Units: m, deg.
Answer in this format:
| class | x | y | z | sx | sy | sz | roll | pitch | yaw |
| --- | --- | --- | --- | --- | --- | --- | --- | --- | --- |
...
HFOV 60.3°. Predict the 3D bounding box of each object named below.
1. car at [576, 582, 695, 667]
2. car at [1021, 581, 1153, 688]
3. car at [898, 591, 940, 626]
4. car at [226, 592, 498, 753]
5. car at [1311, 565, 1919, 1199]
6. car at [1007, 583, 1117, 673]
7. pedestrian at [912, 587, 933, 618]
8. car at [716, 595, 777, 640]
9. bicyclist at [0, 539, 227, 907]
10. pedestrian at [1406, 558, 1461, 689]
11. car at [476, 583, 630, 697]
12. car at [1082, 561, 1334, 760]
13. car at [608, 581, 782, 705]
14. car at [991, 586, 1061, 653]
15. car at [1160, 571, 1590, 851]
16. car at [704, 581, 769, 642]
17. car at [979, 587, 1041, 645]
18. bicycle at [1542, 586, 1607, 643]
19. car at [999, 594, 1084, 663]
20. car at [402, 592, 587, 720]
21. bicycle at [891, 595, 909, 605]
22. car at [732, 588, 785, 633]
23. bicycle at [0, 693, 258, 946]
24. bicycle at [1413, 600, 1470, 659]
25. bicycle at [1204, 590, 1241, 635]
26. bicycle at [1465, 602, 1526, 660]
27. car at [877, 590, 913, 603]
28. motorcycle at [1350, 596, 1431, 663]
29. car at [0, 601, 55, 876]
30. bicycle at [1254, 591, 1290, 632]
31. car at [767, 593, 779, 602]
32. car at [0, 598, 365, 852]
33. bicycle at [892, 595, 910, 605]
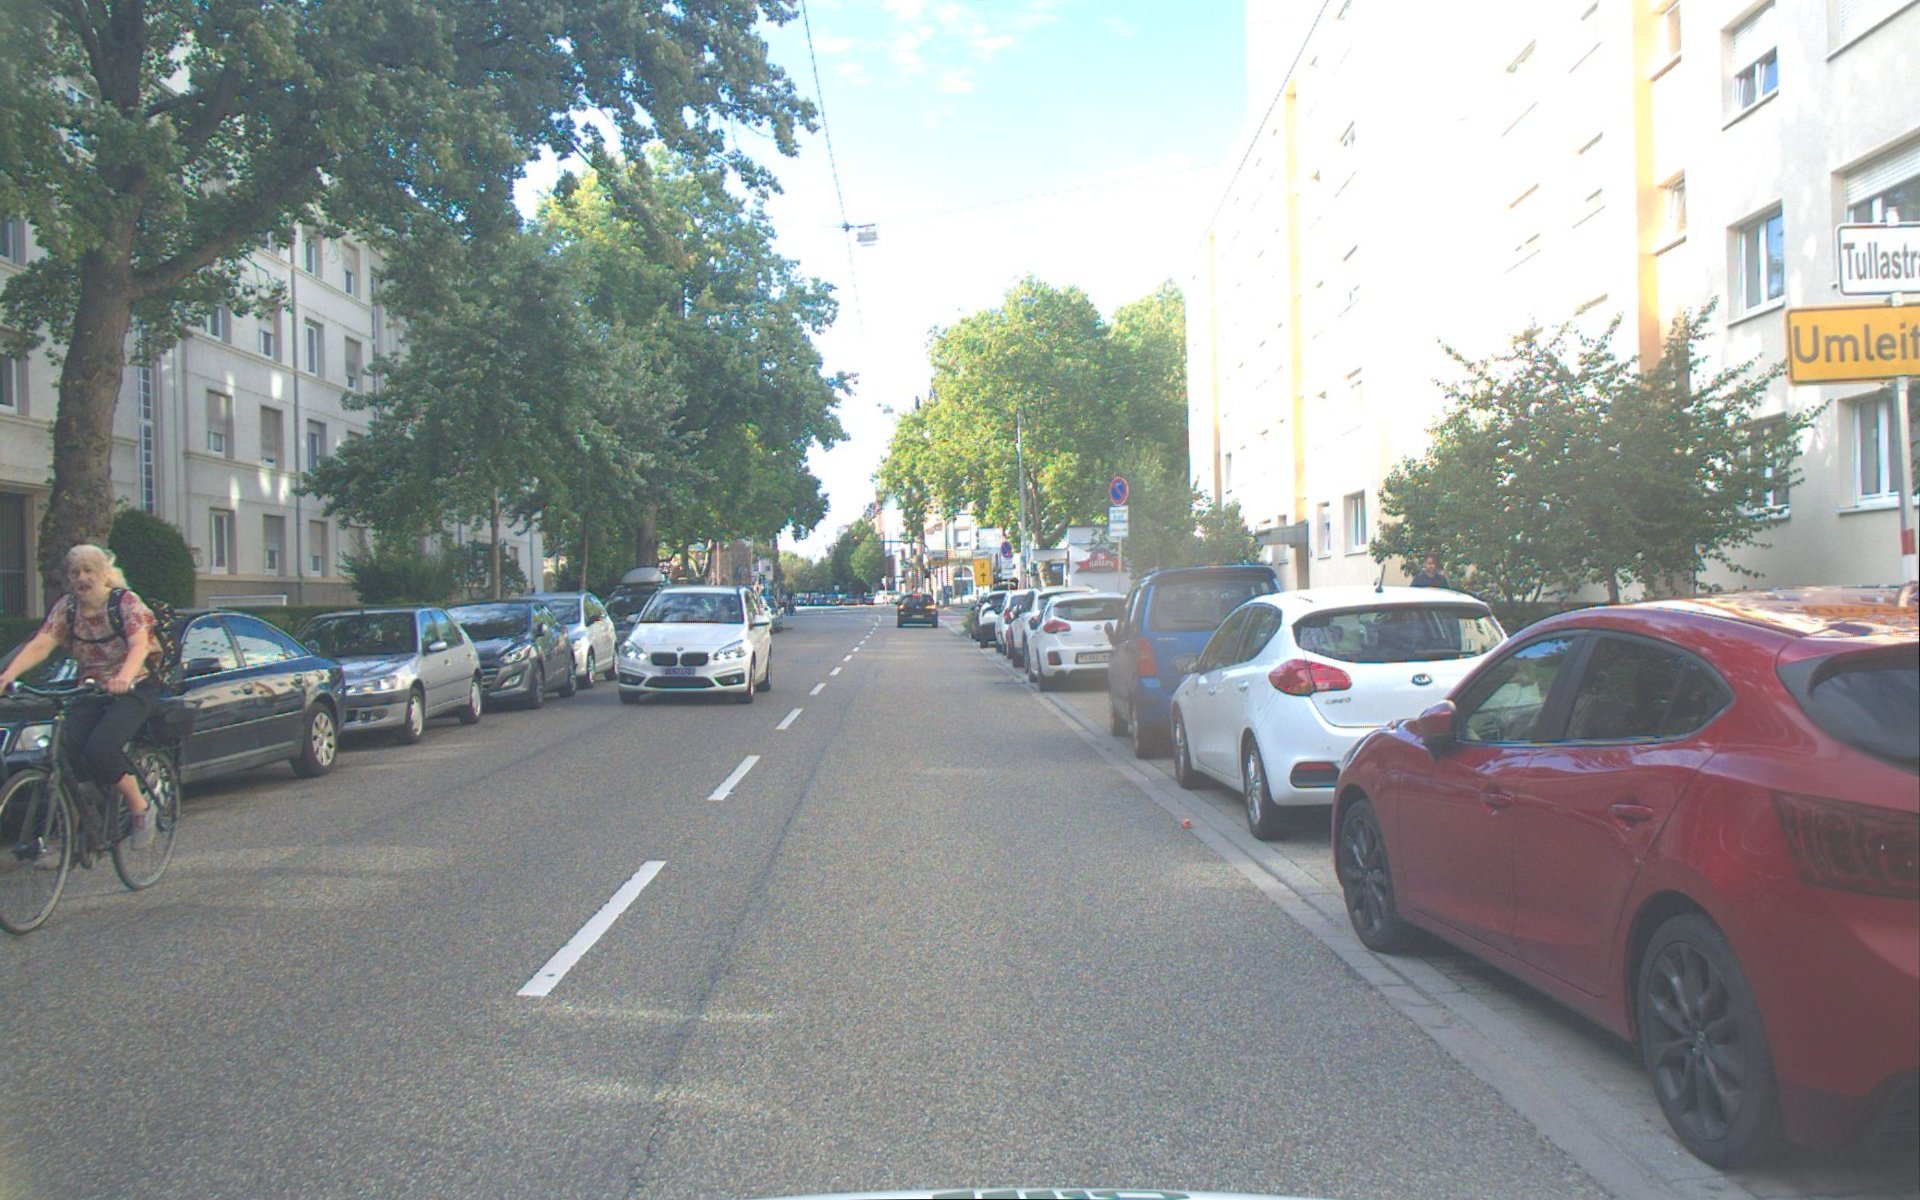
| class | x | y | z | sx | sy | sz | roll | pitch | yaw |
| --- | --- | --- | --- | --- | --- | --- | --- | --- | --- |
| car | -7.225 | 0.503 | 37.221 | 1.763 | 1.697 | 4.482 | -3 | 0 | -1 |
| car | 1.968 | 0.511 | 26.858 | 1.693 | 1.513 | 4.641 | -2 | 0 | -1 |
| car | -1.774 | 0.338 | 70.573 | 1.716 | 1.438 | 3.998 | 0 | 0 | -2 |
| car | -6.342 | 0.697 | 17.997 | 1.568 | 1.443 | 3.962 | -4 | 0 | -2 |
| car | 2.653 | 0.675 | 5.664 | 1.694 | 1.542 | 4.187 | -2 | 0 | -4 |
| car | 1.946 | 0.525 | 32.672 | 1.694 | 1.608 | 4.115 | -2 | 0 | -3 |
| pedestrian | -2.191 | 0.133 | 96.532 | 1.057 | 1.784 | 0.914 | 0 | 0 | -18 |
| car | -7.921 | 0.614 | 61.587 | 1.763 | 1.519 | 3.802 | -3 | 0 | -1 |
| bicyclist | -4.054 | 0.552 | 7.908 | 0.628 | 1.628 | 0.990 | -2 | 0 | -2 |
| pedestrian | 6.440 | 0.310 | 22.517 | 0.530 | 1.751 | 0.772 | -1 | 0 | 3 |
| car | -6.824 | 0.620 | 28.093 | 1.705 | 1.648 | 3.992 | -5 | 0 | -3 |
| car | 2.332 | 0.529 | 16.563 | 1.694 | 1.678 | 4.114 | -2 | 0 | -3 |
| car | -3.603 | 0.539 | 23.127 | 1.821 | 1.555 | 4.010 | -1 | 0 | -1 |
| car | 1.623 | 0.460 | 41.389 | 1.519 | 1.584 | 3.467 | -1 | 0 | -1 |
| car | 2.556 | 0.614 | 11.238 | 1.694 | 1.486 | 4.114 | -2 | 0 | -3 |
| car | -7.586 | 0.378 | 56.472 | 1.688 | 1.915 | 4.190 | -3 | 0 | -2 |
| car | 1.399 | 0.419 | 47.190 | 1.655 | 1.555 | 4.238 | -1 | 0 | 1 |
| bicycle | 10.480 | 0.238 | 28.250 | 0.449 | 0.943 | 1.516 | -2 | 0 | -3 |
| car | 1.802 | 0.618 | 37.425 | 1.485 | 1.422 | 3.673 | -2 | 0 | -3 |
| car | -6.340 | 0.701 | 22.948 | 1.583 | 1.493 | 4.010 | -4 | 1 | -4 |
| bicycle | -6.758 | 0.015 | 186.032 | 1.989 | 1.101 | 0.628 | -1 | 0 | -16 |
| car | -8.019 | 0.397 | 66.161 | 1.764 | 1.648 | 3.800 | -3 | 0 | -3 |
| bicycle | -4.036 | 0.974 | 7.866 | 0.629 | 0.940 | 1.857 | -1 | 0 | -1 |
| bicycle | 8.209 | 0.484 | 28.243 | 0.449 | 0.958 | 1.516 | -2 | 0 | -3 |
| bicycle | 7.550 | 0.346 | 47.719 | 0.585 | 1.207 | 2.208 | -4 | 0 | -2 |
| bicycle | 9.080 | 0.509 | 28.070 | 0.449 | 0.943 | 1.516 | -2 | 0 | -3 |
| car | -7.408 | -0.405 | 187.714 | 3.913 | 1.445 | 1.996 | -1 | 0 | -9 |
| motorcycle | 7.321 | 0.477 | 28.222 | 0.618 | 1.063 | 2.393 | -2 | 0 | -3 |
| car | -6.124 | 0.825 | 7.516 | 1.651 | 1.506 | 4.119 | -4 | 0 | 0 |
| bicycle | 8.967 | 0.316 | 47.578 | 0.518 | 1.134 | 2.208 | -2 | 0 | -2 |
| car | -26.221 | -0.398 | 232.106 | 1.519 | 1.251 | 3.585 | 0 | 0 | -3 |
| car | -6.170 | 0.809 | 12.388 | 1.651 | 1.506 | 4.452 | -4 | 0 | 1 |
| bicycle | -6.623 | -0.006 | 185.420 | 1.989 | 1.101 | 0.618 | -1 | 0 | -16 |
